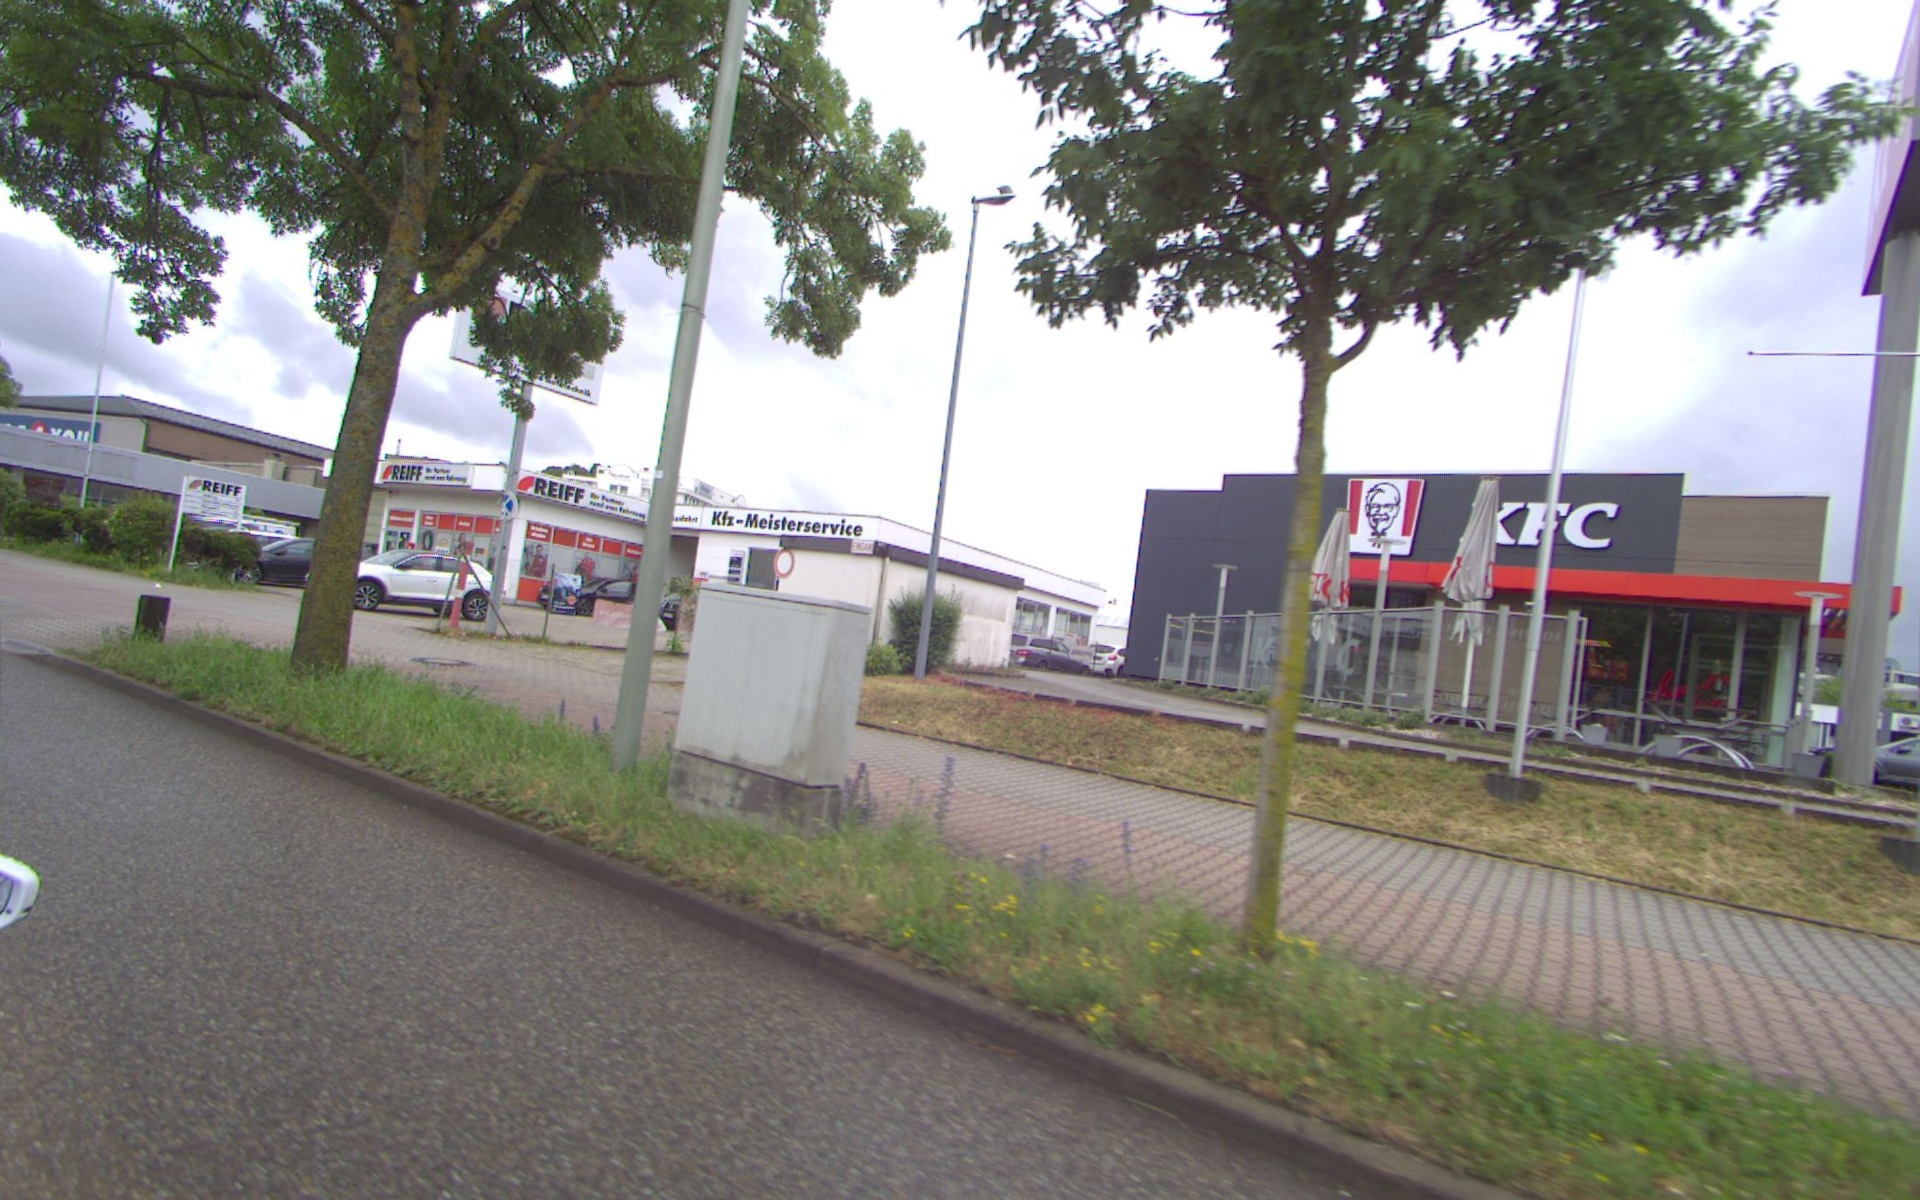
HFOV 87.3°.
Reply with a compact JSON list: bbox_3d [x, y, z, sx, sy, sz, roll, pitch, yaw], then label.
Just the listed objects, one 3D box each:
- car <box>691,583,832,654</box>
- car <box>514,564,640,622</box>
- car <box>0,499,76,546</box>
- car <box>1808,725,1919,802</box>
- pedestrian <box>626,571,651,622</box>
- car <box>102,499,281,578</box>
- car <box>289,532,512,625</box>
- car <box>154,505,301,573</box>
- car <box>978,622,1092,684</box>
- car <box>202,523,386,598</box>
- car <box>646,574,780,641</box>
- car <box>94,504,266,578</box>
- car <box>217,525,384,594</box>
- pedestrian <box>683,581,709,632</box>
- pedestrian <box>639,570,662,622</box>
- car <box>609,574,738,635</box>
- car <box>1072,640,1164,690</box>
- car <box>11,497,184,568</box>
[{"bbox_3d":[-6.219,0.614,31.831,1.927,1.699,3.989,6,-2,36],"label":"car"},{"bbox_3d":[-13.557,-0.215,35.796,1.757,1.495,3.857,6,-3,30],"label":"car"},{"bbox_3d":[-37.334,-3.158,39.361,1.763,1.481,3.687,7,-1,29],"label":"car"},{"bbox_3d":[27.121,4.775,28.306,4.669,1.761,1.888,6,-1,35],"label":"car"},{"bbox_3d":[-11.274,-0.119,35.286,0.506,1.725,0.439,7,-1,3],"label":"pedestrian"},{"bbox_3d":[-23.405,-1.852,30.711,4.128,1.682,1.799,9,0,-42],"label":"car"},{"bbox_3d":[-13.299,-0.462,24.136,1.861,1.570,4.178,7,-2,36],"label":"car"},{"bbox_3d":[-31.964,-2.605,44.052,1.931,2.174,4.666,7,-2,27],"label":"car"},{"bbox_3d":[2.708,1.903,35.462,1.875,1.721,4.164,6,-2,38],"label":"car"},{"bbox_3d":[-18.937,-1.102,28.721,1.695,1.540,3.981,6,-1,42],"label":"car"},{"bbox_3d":[-8.130,0.290,33.461,1.925,1.699,3.993,7,-1,32],"label":"car"},{"bbox_3d":[-24.823,-1.862,32.156,4.124,1.682,1.801,9,0,-39],"label":"car"},{"bbox_3d":[-20.314,-1.214,31.094,1.709,1.541,3.922,6,-1,42],"label":"car"},{"bbox_3d":[-9.748,0.228,37.134,0.496,1.806,0.515,6,-1,34],"label":"pedestrian"},{"bbox_3d":[-11.176,-0.131,36.314,0.509,1.806,0.436,6,-1,45],"label":"pedestrian"},{"bbox_3d":[-9.745,0.188,34.470,1.747,1.598,3.993,7,-1,32],"label":"car"},{"bbox_3d":[6.386,2.638,40.383,1.875,1.619,3.859,6,-2,38],"label":"car"},{"bbox_3d":[-27.983,-2.166,32.767,4.042,1.616,1.961,8,-2,-42],"label":"car"}]
